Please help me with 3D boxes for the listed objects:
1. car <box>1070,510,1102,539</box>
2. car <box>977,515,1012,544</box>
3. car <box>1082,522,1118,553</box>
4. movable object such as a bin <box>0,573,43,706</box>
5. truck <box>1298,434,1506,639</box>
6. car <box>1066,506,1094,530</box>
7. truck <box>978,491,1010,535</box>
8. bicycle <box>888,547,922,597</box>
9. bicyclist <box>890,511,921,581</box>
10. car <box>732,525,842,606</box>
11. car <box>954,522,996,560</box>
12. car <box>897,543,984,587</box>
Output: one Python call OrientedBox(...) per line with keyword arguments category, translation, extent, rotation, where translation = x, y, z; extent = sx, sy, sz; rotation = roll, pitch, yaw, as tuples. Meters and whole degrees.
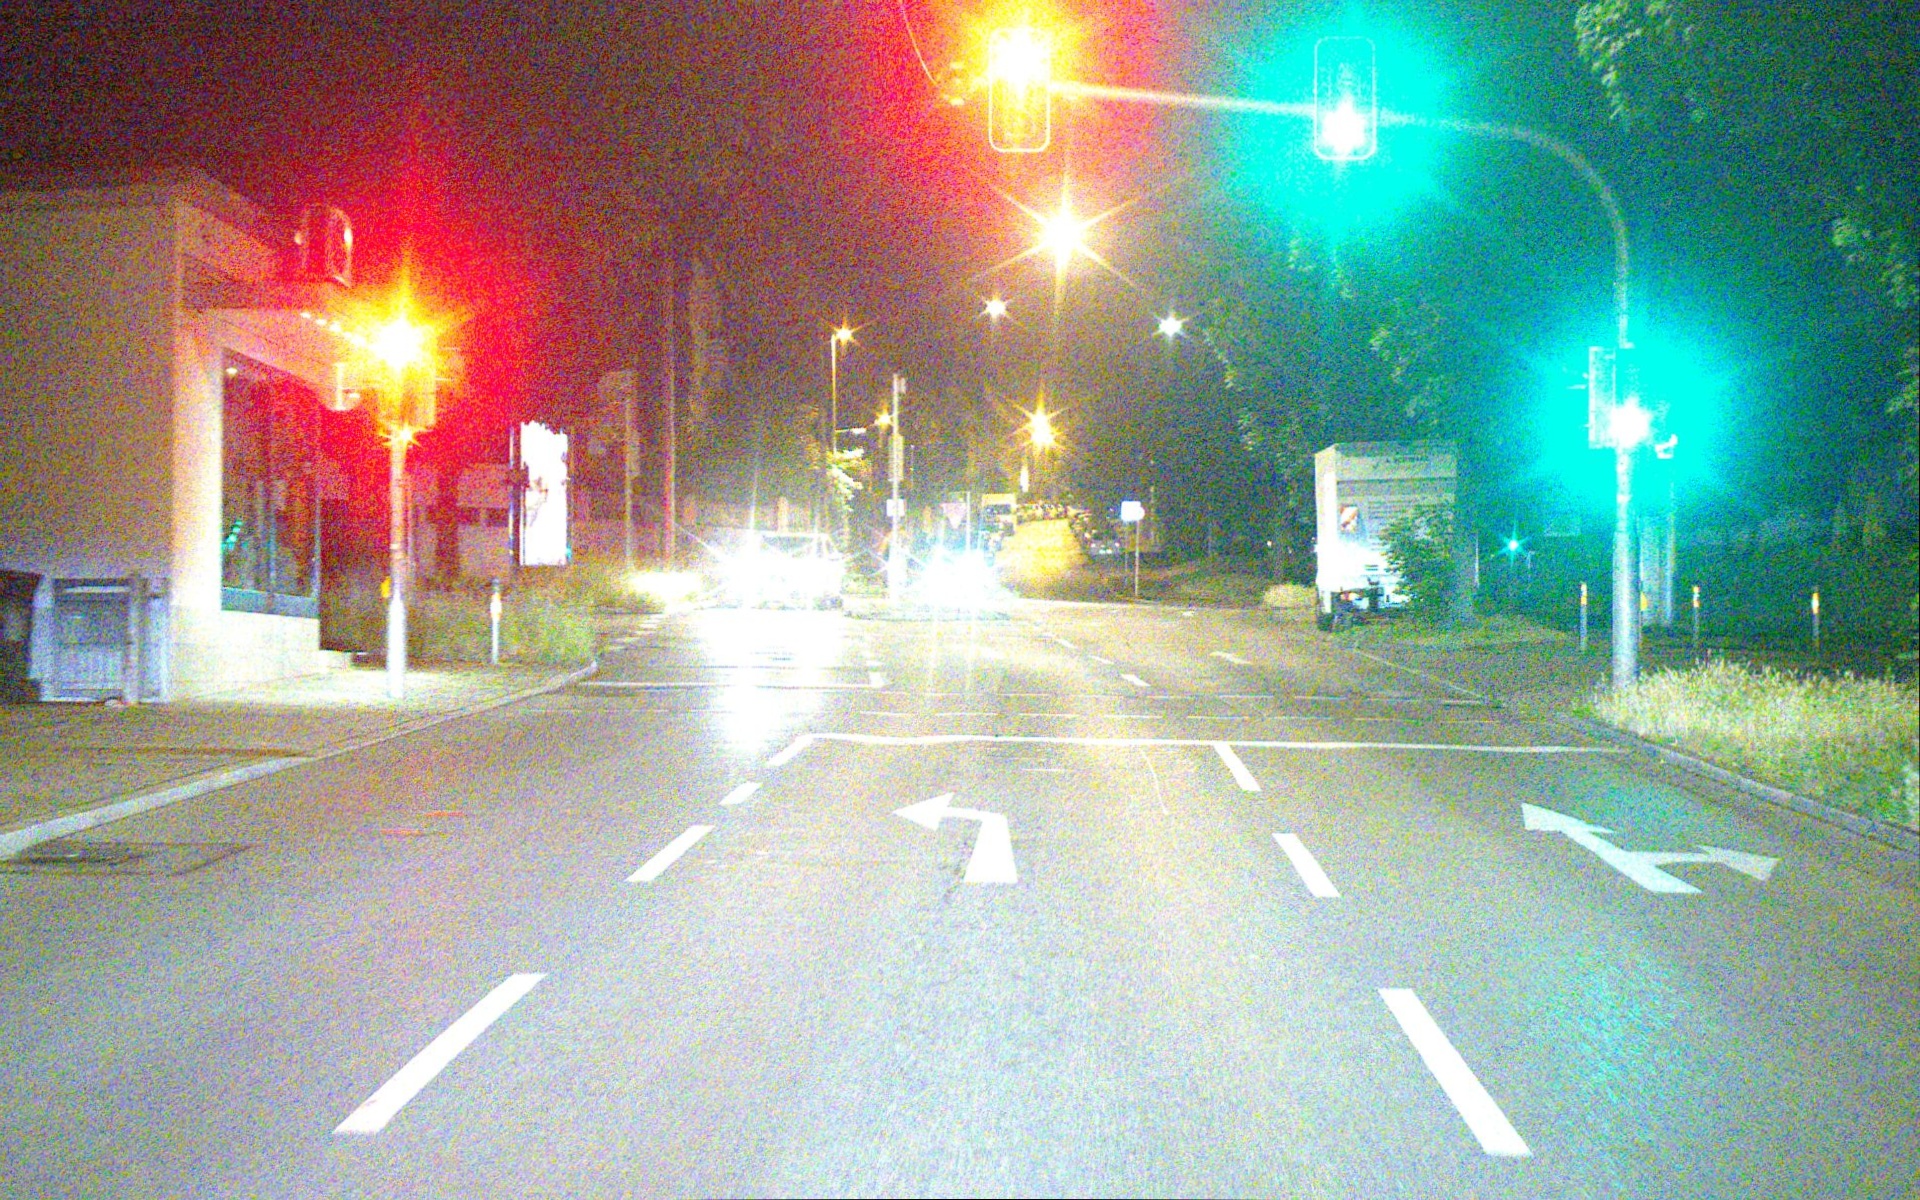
OrientedBox(category="car", translation=(6.612, -3.974, 180.725), extent=(1.634, 1.447, 3.485), rotation=(1, 1, 2))
OrientedBox(category="car", translation=(1.826, -3.713, 182.217), extent=(1.815, 1.486, 4.000), rotation=(1, 1, 0))
OrientedBox(category="car", translation=(6.694, -2.986, 164.667), extent=(1.634, 1.447, 3.485), rotation=(1, 1, 2))
OrientedBox(category="movable object such as a bin", translation=(-7.760, 0.306, 27.333), extent=(0.639, 1.045, 0.654), rotation=(1, 1, 19))
OrientedBox(category="truck", translation=(7.099, -1.044, 55.989), extent=(2.749, 3.100, 6.258), rotation=(1, 1, 2))
OrientedBox(category="car", translation=(7.428, -5.085, 212.925), extent=(1.634, 1.447, 3.485), rotation=(1, 1, 2))
OrientedBox(category="truck", translation=(2.267, -5.843, 231.236), extent=(2.086, 2.838, 5.832), rotation=(1, 1, 0))
OrientedBox(category="bicycle", translation=(-1.299, -0.667, 81.063), extent=(0.696, 1.145, 1.950), rotation=(1, 1, 2))
OrientedBox(category="bicyclist", translation=(-1.284, -1.274, 81.086), extent=(0.690, 1.631, 0.896), rotation=(1, 1, 2))
OrientedBox(category="car", translation=(-3.400, -0.706, 68.202), extent=(1.857, 1.529, 4.028), rotation=(1, 1, 1))
OrientedBox(category="car", translation=(0.698, -2.673, 156.287), extent=(1.815, 1.678, 4.000), rotation=(1, 1, 2))
OrientedBox(category="car", translation=(-0.676, -1.174, 114.128), extent=(1.916, 1.384, 4.584), rotation=(1, 1, -13))
